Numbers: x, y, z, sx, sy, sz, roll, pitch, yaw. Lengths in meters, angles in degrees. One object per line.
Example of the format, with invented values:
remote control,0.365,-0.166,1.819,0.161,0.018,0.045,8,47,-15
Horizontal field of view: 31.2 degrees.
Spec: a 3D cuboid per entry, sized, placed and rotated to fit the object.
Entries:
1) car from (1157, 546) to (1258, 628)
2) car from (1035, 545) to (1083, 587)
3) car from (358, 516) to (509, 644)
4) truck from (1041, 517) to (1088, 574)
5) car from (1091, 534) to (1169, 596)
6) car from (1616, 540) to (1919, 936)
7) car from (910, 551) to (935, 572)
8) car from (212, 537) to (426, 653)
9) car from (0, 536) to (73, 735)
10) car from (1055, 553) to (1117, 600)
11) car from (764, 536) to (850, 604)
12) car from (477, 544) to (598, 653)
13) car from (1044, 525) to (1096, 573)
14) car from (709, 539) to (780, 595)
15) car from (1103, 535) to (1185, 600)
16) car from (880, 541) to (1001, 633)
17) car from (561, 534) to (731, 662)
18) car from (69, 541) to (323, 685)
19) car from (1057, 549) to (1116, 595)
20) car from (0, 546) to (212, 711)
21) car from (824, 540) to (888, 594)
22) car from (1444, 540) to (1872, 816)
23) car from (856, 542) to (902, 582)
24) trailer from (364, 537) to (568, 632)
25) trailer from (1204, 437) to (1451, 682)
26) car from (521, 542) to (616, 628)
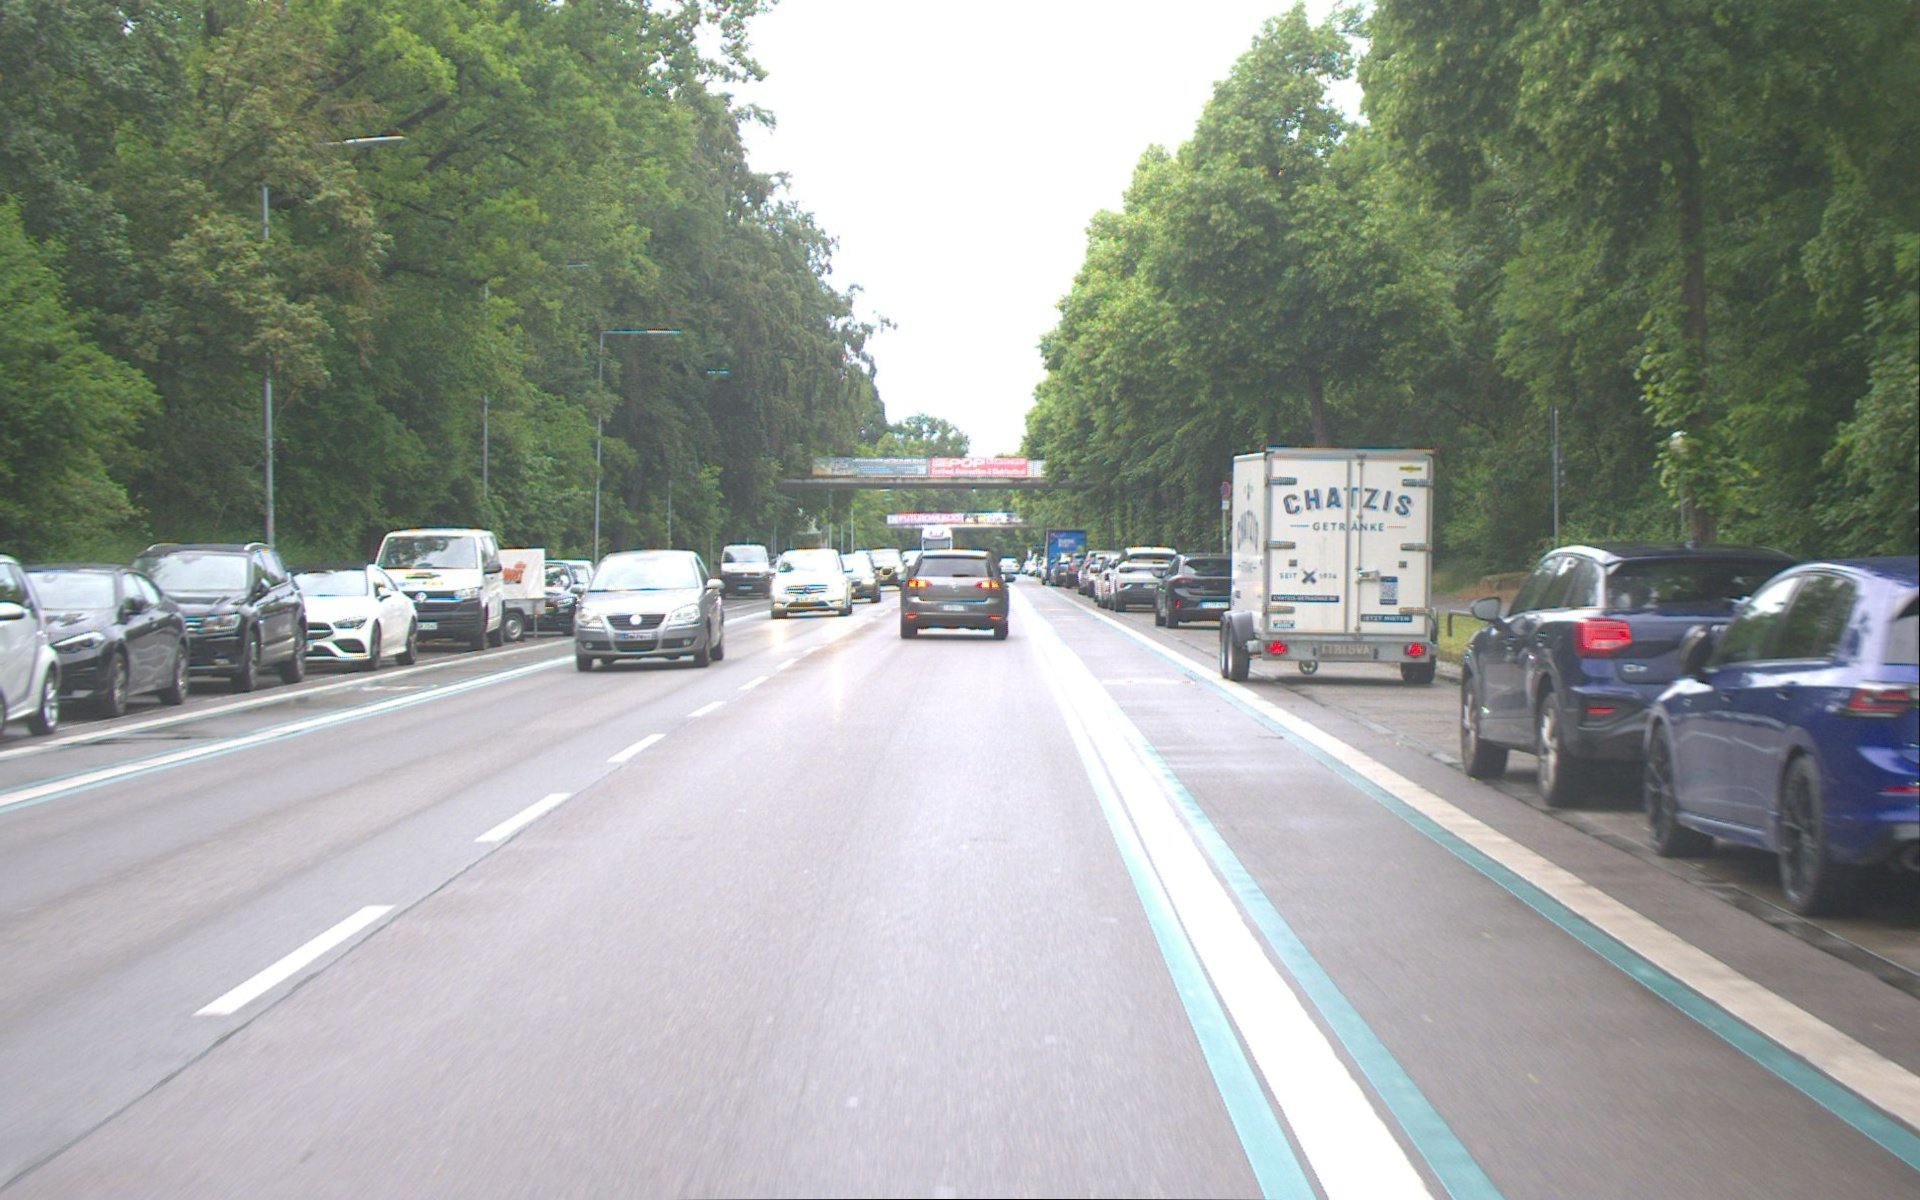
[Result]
car,4.784,-0.280,66.844,1.722,1.520,4.000,0,1,1
car,4.403,-1.523,153.358,1.993,1.766,4.000,-2,0,1
car,-8.567,-0.363,56.325,1.939,2.007,4.741,0,1,-2
truck,4.889,-2.568,161.427,2.113,2.590,4.301,0,1,1
car,4.484,-0.950,91.129,1.897,1.601,4.000,0,1,1
car,4.177,0.492,15.213,1.682,1.476,4.319,0,1,0
car,-2.049,-2.104,188.847,1.378,1.127,3.313,0,1,0
car,-8.500,-0.104,45.948,1.993,1.483,4.468,0,1,1
car,-8.333,0.268,28.035,1.461,1.566,2.984,0,1,-1
car,4.259,-0.821,116.731,1.993,1.557,4.000,0,1,1
car,-3.535,-0.707,79.827,1.835,1.512,4.000,-1,1,-1
car,-8.108,-0.072,66.365,1.939,2.007,4.741,0,1,-2
car,4.642,-2.142,145.310,1.993,2.007,4.000,0,1,-1
car,-7.893,-1.226,126.315,2.159,2.007,5.031,0,1,1
car,4.599,-0.842,86.555,1.897,1.601,4.000,0,1,1
car,-0.357,-0.194,56.964,1.871,1.436,4.296,1,0,-2
car,-3.893,-0.057,43.160,1.698,1.480,4.035,-1,1,0
car,-8.710,0.101,39.564,1.879,1.556,4.468,0,1,1
car,4.464,-0.999,121.520,1.993,1.557,4.000,0,1,1
car,-8.622,0.225,33.335,1.808,1.483,4.469,0,1,-1
car,-3.064,-0.993,102.007,1.706,1.566,4.000,0,1,1
car,4.106,0.393,20.823,1.713,1.507,3.976,0,1,-1
car,-3.219,-1.531,137.270,1.706,1.566,4.000,0,1,1
trailer,-8.781,-0.301,61.344,1.628,1.623,3.666,0,1,31
trailer,3.991,-0.465,38.073,2.132,2.551,4.298,0,1,-2
car,-8.313,-0.337,73.149,1.576,1.764,3.415,0,1,1
